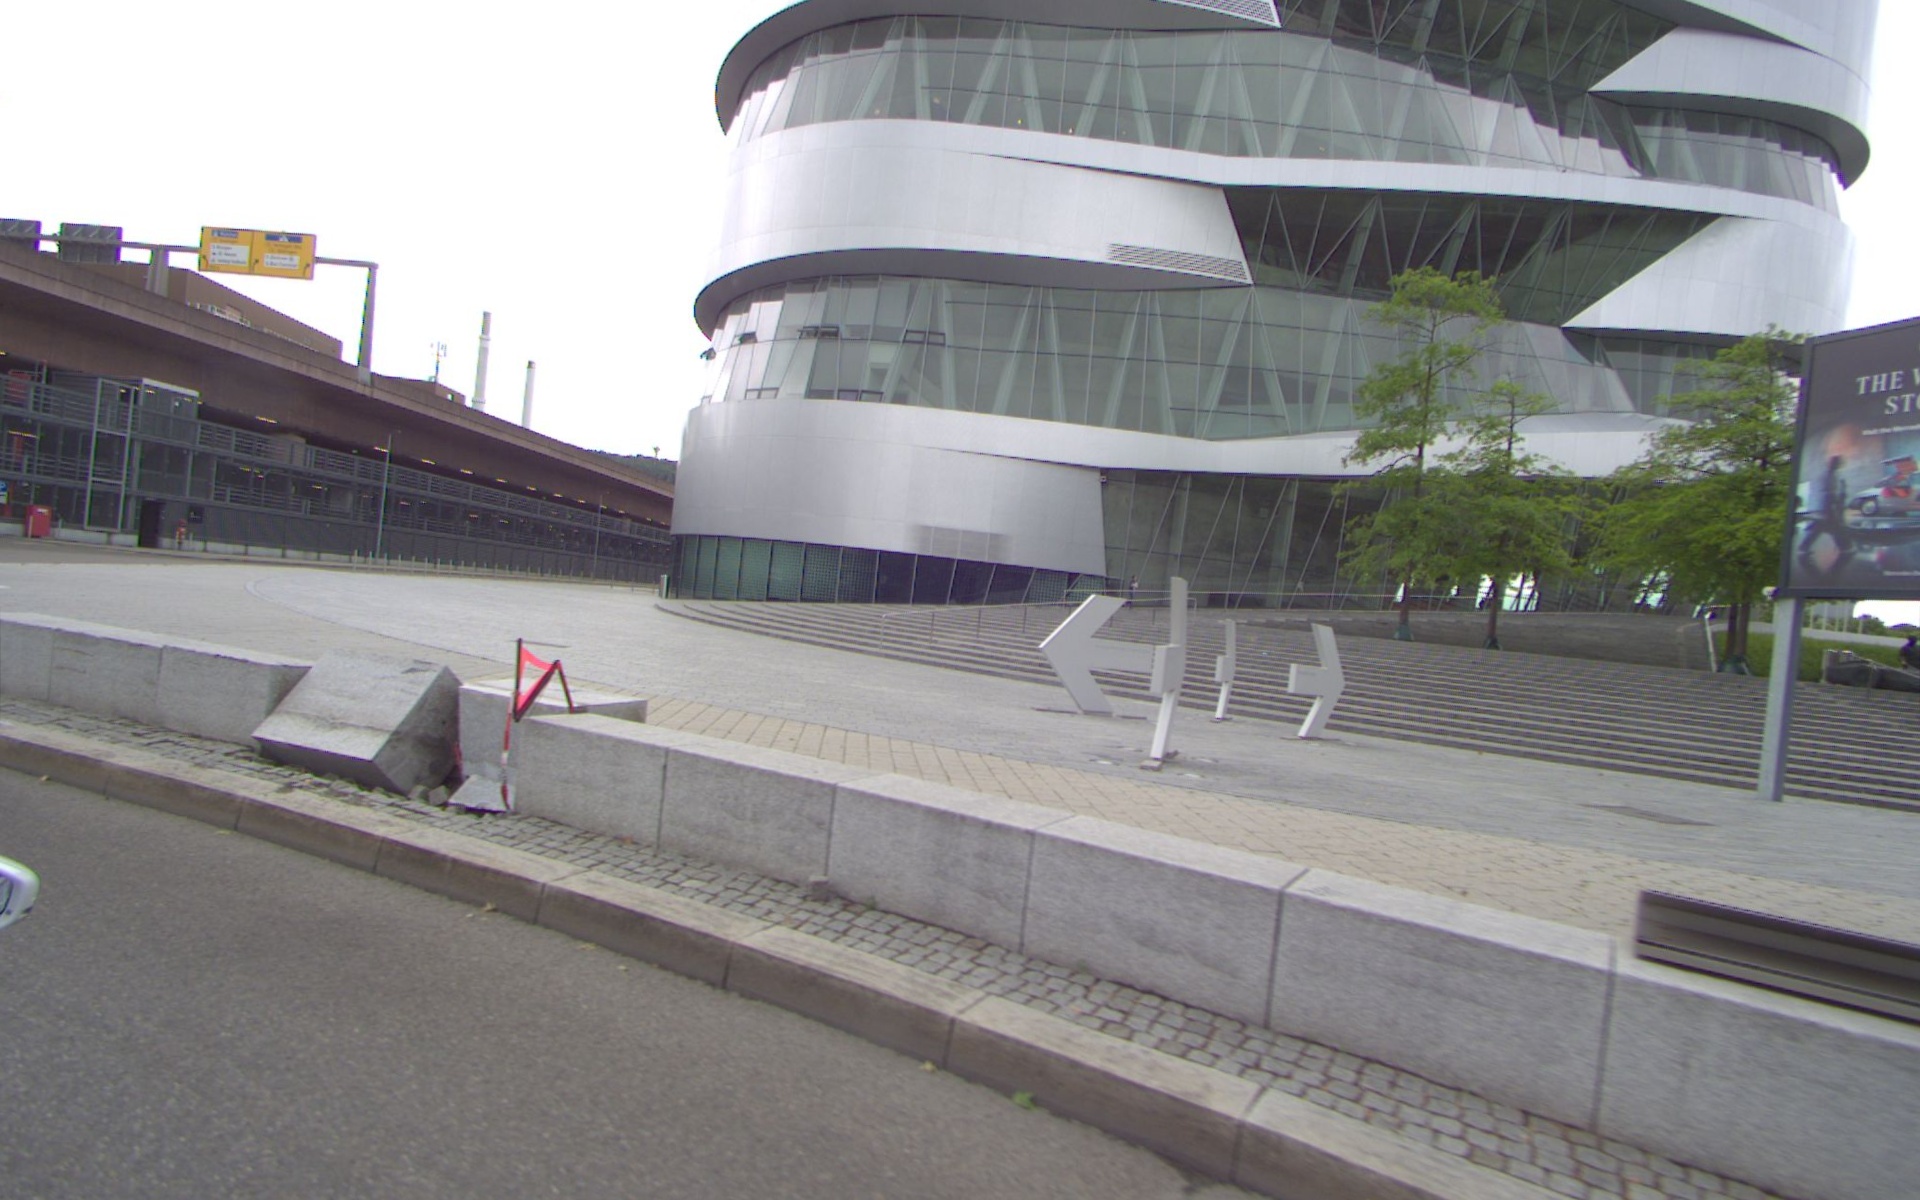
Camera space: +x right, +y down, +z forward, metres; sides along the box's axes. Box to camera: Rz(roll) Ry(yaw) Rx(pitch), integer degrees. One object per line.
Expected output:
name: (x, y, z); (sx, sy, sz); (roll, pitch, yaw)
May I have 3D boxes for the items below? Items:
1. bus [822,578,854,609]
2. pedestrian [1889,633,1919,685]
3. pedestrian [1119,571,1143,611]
bus: (-16.018, -0.761, 132.493); (2.877, 3.482, 6.971); (7, -1, 2)
pedestrian: (27.113, 1.692, 28.641); (0.677, 1.404, 0.782); (7, 0, -39)
pedestrian: (8.581, -0.429, 50.604); (0.935, 1.949, 0.852); (3, 0, -5)
